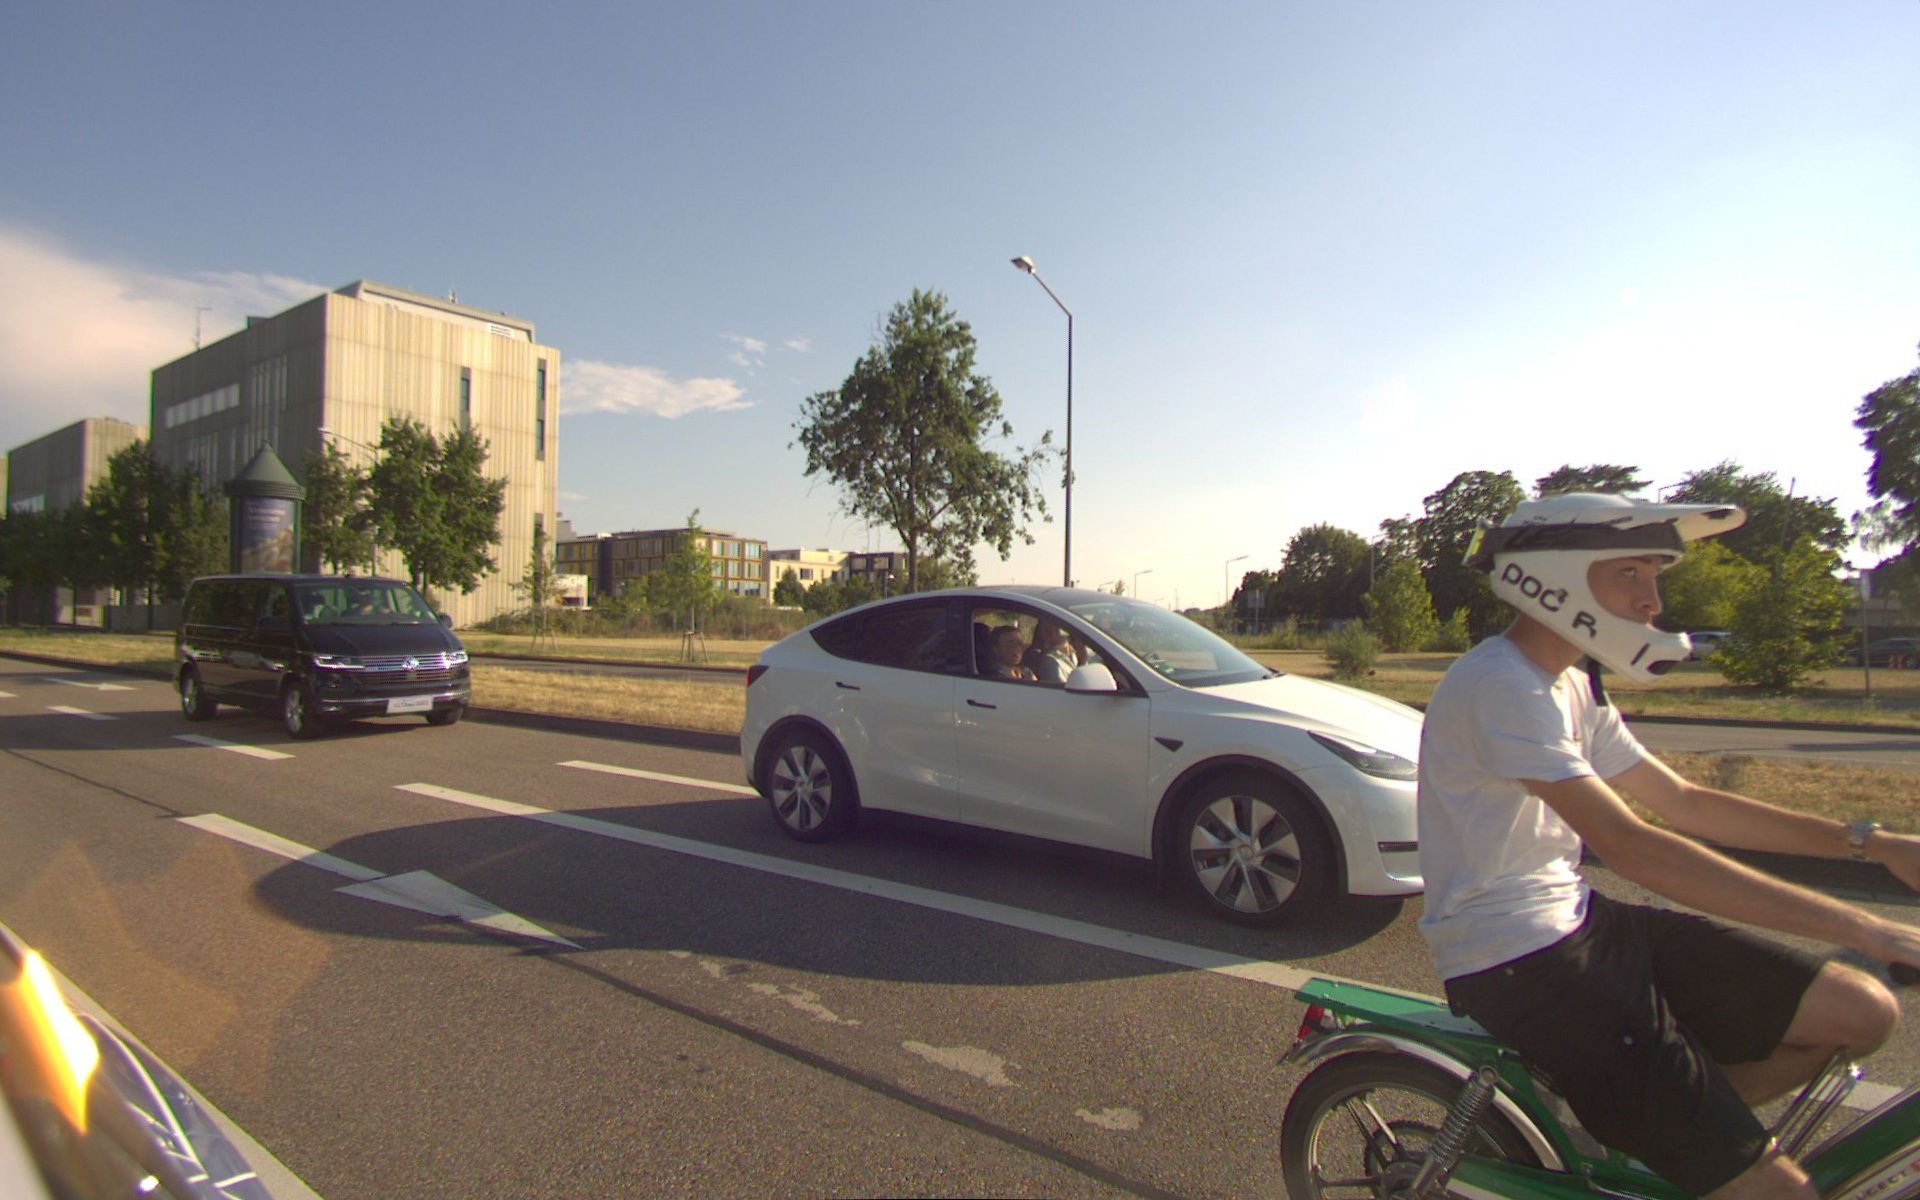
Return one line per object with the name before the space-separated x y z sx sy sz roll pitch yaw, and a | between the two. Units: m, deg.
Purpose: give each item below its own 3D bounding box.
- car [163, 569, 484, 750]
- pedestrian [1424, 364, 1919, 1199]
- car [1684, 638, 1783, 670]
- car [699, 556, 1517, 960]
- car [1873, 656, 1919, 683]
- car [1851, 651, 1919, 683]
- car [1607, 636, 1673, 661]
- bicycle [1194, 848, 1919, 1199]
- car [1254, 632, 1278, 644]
car | -8.385 0.660 13.145 5.003 1.947 1.839 -1 -1 36
pedestrian | 1.312 0.472 1.648 0.854 1.530 0.649 -1 -3 41
car | 39.667 2.748 51.994 1.630 1.537 3.951 1 -2 -9
car | 0.605 0.666 6.139 4.669 1.611 1.719 -1 -1 37
car | 45.374 3.317 48.667 0.755 1.245 2.093 1 -2 -10
car | 48.221 3.409 51.247 1.628 1.537 4.414 1 -2 -18
car | 43.306 3.082 64.520 1.557 1.558 3.383 1 -2 -10
bicycle | 1.311 0.997 1.555 1.855 0.882 0.472 -1 -3 41
car | 32.025 3.976 105.949 1.315 1.302 2.810 1 -2 -10
